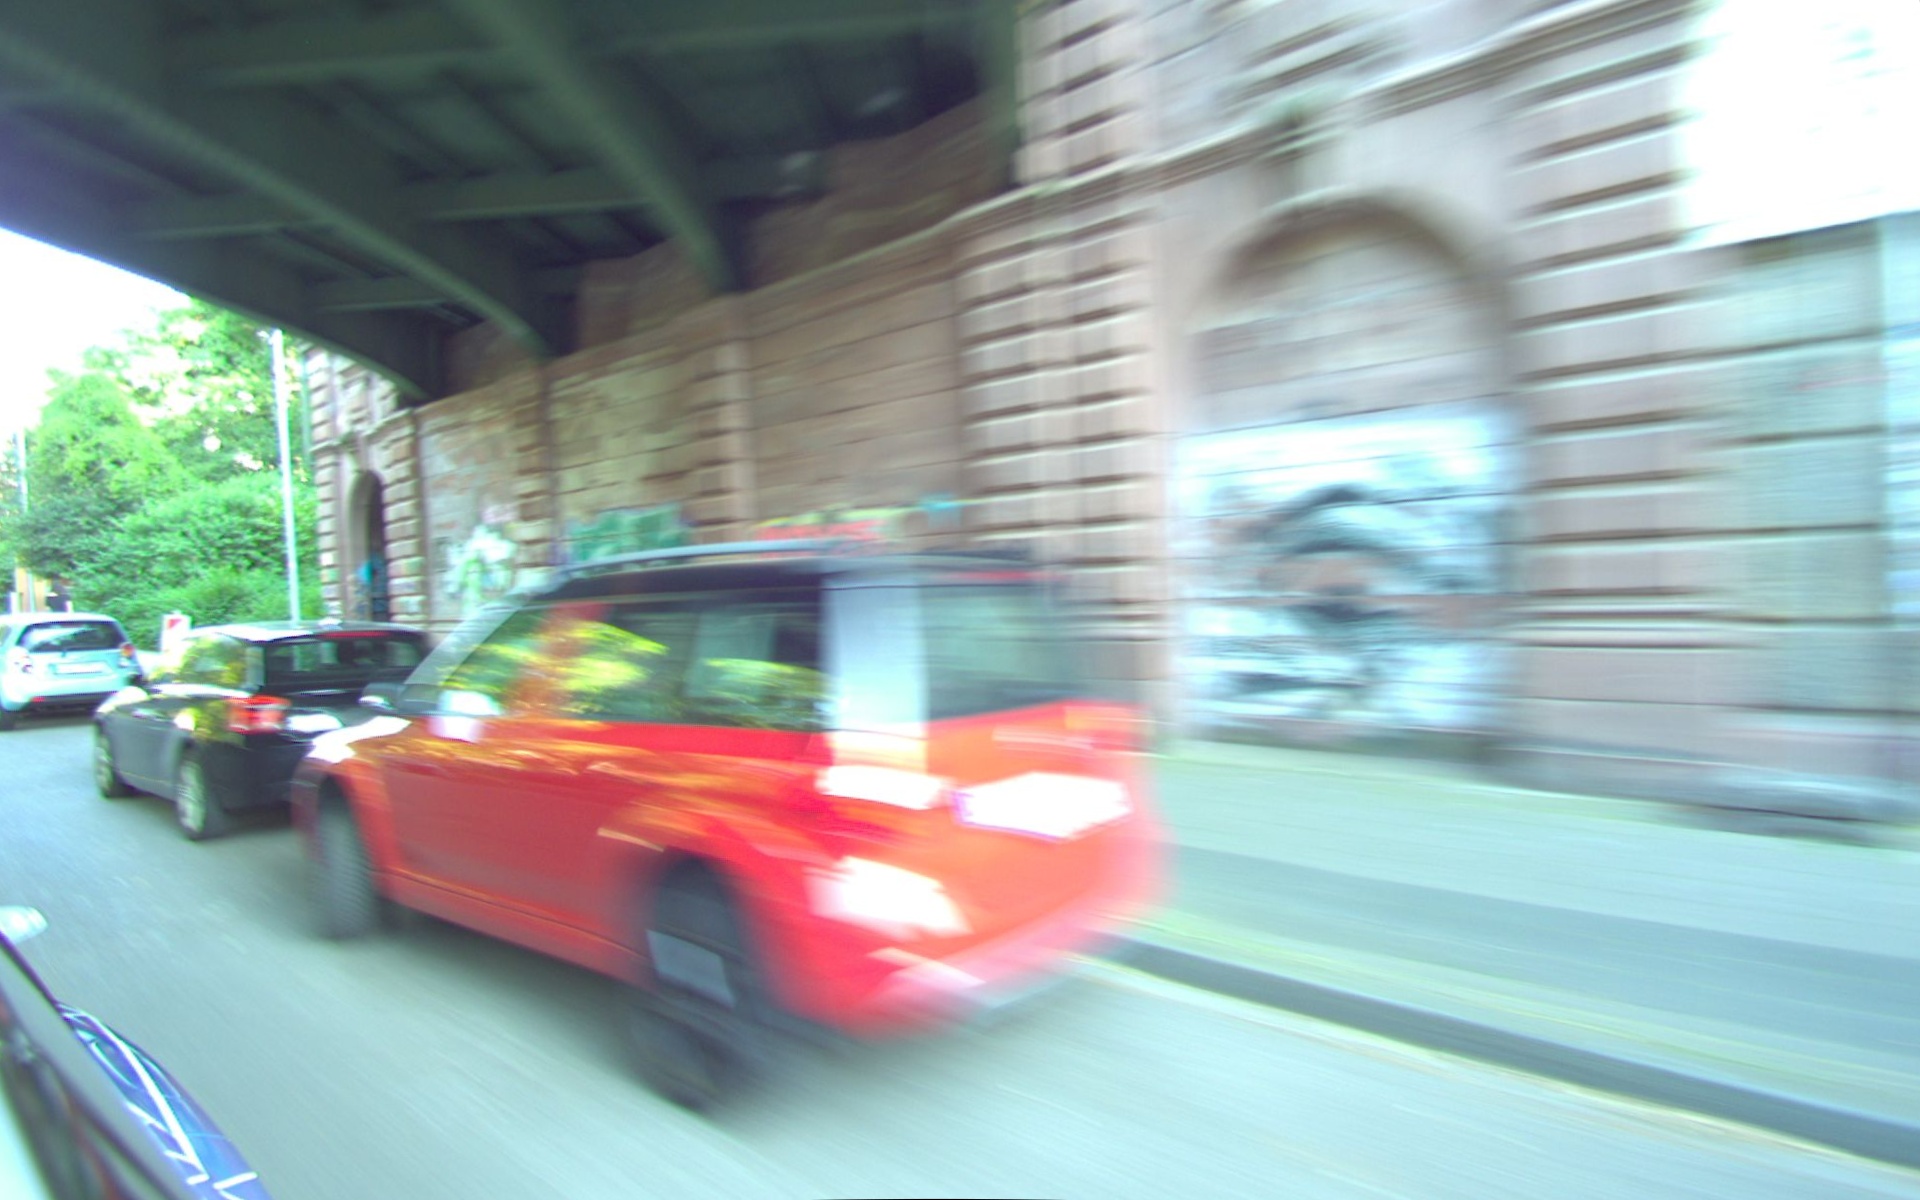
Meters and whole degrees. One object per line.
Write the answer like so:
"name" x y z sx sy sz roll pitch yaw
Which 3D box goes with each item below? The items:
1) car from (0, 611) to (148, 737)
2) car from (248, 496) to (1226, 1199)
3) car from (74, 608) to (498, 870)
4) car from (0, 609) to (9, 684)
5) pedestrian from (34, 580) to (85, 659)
"car" -13.357 0.965 14.672 3.909 1.559 1.580 0 1 37
"car" -1.269 0.632 4.304 4.317 1.721 1.700 -1 0 38
"car" -5.343 0.830 7.818 3.997 1.475 1.699 -1 1 41
"car" -21.135 0.958 20.619 4.367 1.477 1.729 0 3 36
"pedestrian" -22.488 0.472 25.273 1.044 1.928 0.632 0 3 33
